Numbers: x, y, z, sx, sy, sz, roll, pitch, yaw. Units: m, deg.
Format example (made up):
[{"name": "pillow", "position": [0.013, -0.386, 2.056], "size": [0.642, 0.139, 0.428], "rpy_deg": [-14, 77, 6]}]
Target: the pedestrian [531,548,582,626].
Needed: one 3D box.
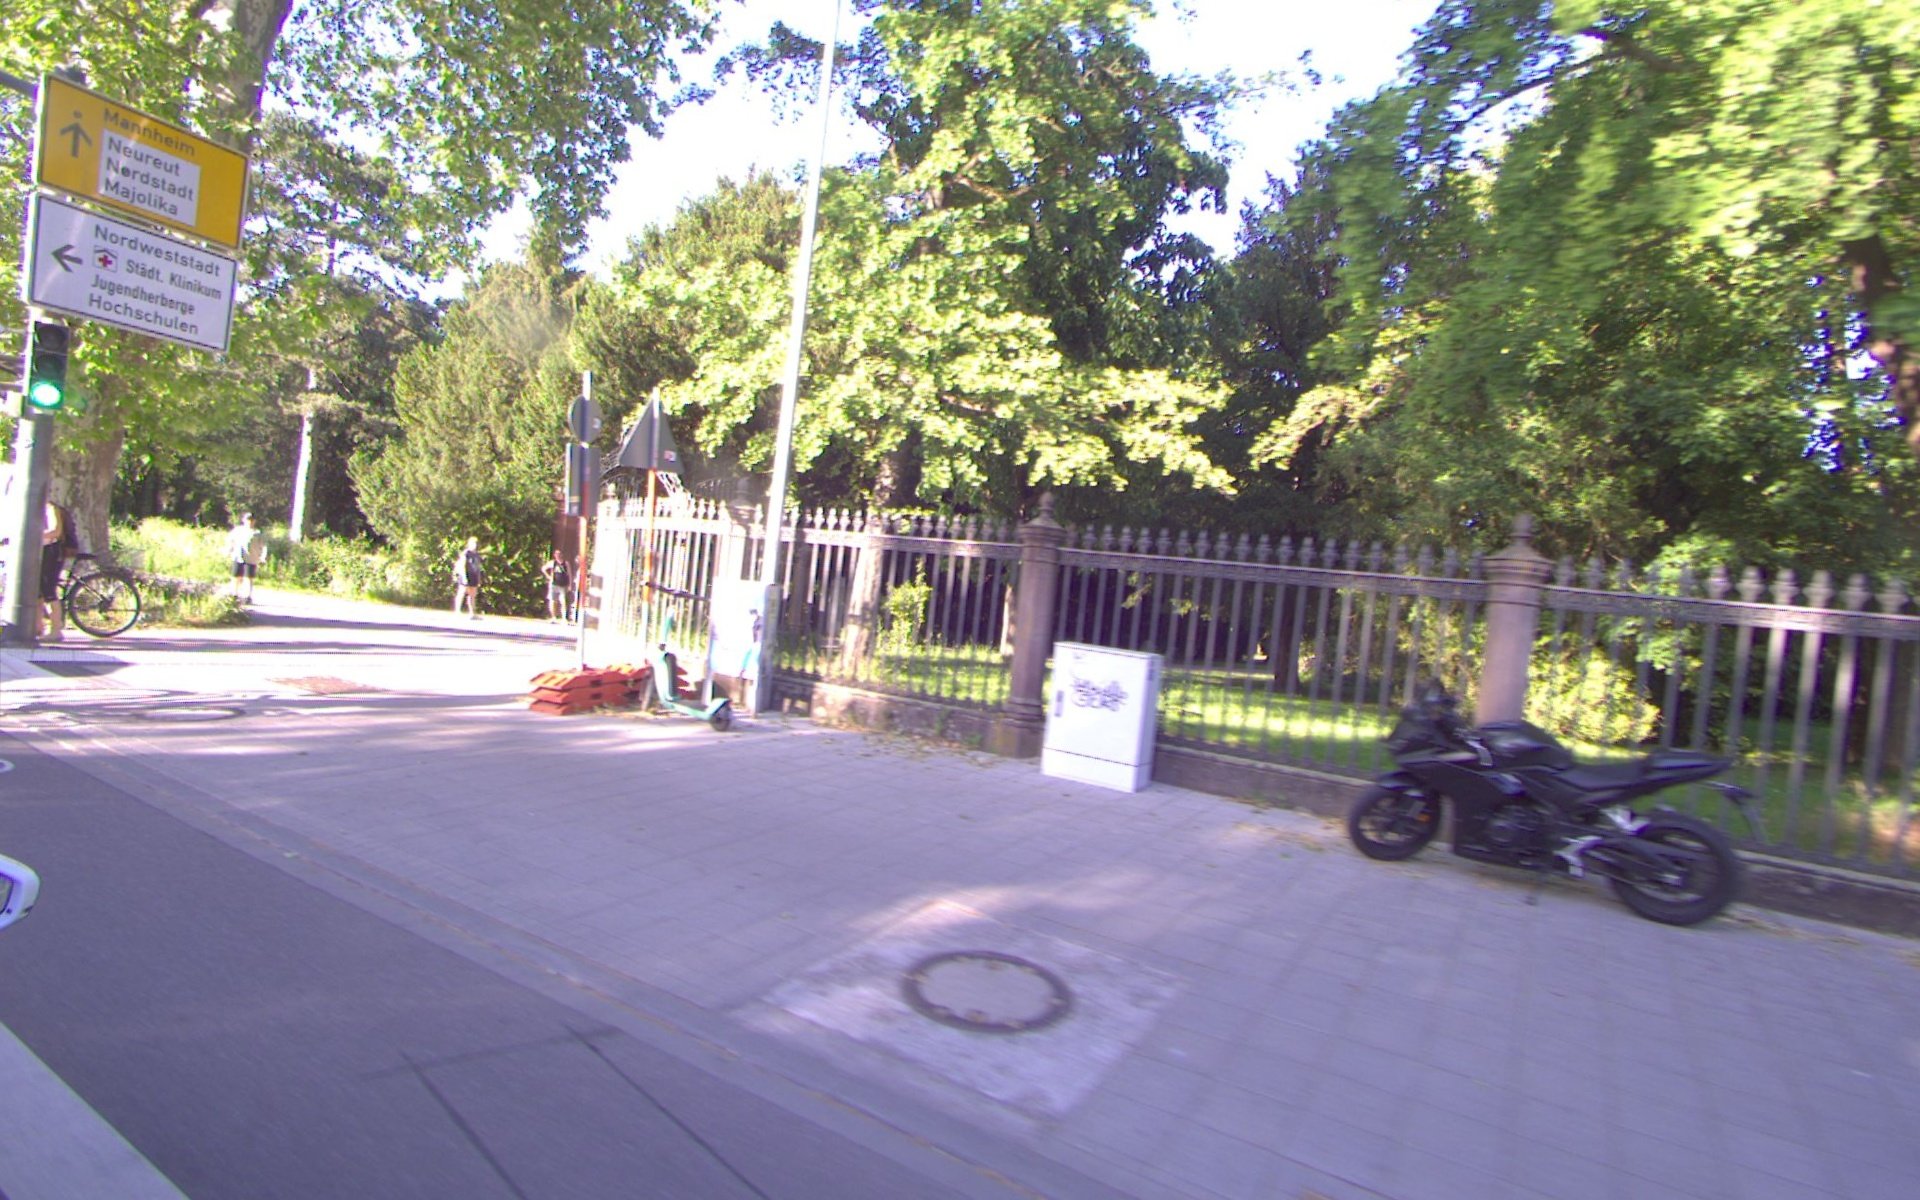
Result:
[{"name": "pedestrian", "position": [-9.588, -0.302, 23.890], "size": [0.671, 1.731, 0.689], "rpy_deg": [7, -1, 40]}]

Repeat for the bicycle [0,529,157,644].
[{"name": "bicycle", "position": [-9.914, -0.165, 10.702], "size": [0.685, 1.109, 1.983], "rpy_deg": [7, 0, 38]}]

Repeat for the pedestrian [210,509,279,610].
[{"name": "pedestrian", "position": [-11.904, -0.674, 16.734], "size": [0.671, 1.565, 0.689], "rpy_deg": [7, 1, 40]}]

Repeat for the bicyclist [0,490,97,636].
[{"name": "bicyclist", "position": [-9.858, -0.393, 10.749], "size": [0.685, 1.466, 0.764], "rpy_deg": [7, 1, 38]}]

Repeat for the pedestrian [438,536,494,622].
[{"name": "pedestrian", "position": [-10.057, -0.420, 20.493], "size": [0.671, 1.654, 0.689], "rpy_deg": [7, 1, 40]}]

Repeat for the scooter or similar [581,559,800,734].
[{"name": "scooter or similar", "position": [-2.390, 0.351, 8.844], "size": [1.806, 1.273, 0.791], "rpy_deg": [7, 5, 32]}]

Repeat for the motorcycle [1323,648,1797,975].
[{"name": "motorcycle", "position": [3.242, 1.047, 5.647], "size": [2.004, 1.309, 0.905], "rpy_deg": [7, 1, 32]}]
